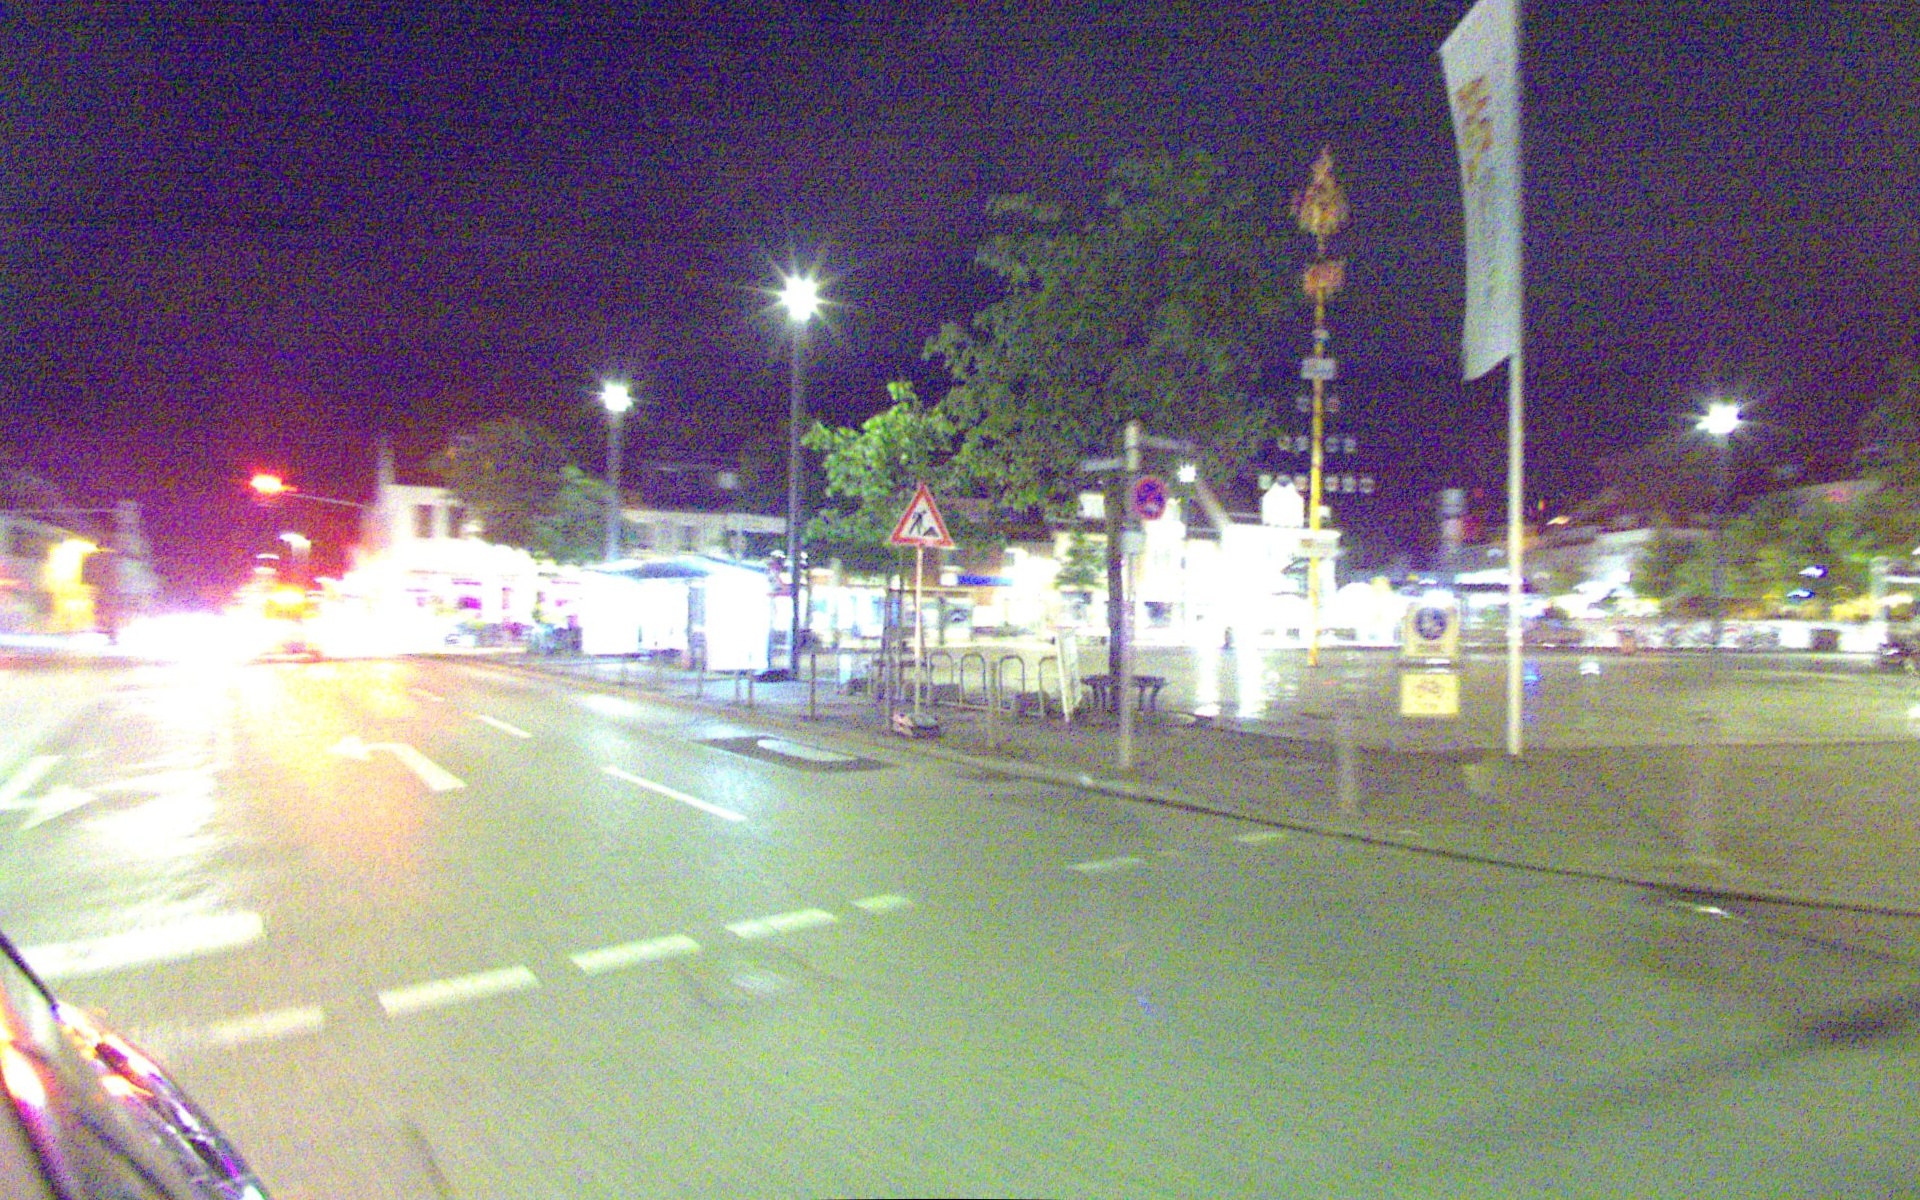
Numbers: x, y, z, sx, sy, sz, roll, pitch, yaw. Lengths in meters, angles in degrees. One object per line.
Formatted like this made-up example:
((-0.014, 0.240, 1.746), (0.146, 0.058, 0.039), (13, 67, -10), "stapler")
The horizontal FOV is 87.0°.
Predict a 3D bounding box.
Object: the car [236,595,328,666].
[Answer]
((-20.303, 0.872, 30.243), (1.929, 1.951, 4.426), (-1, -1, -38), "car")

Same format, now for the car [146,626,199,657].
((-43.526, 2.249, 56.000), (1.966, 1.583, 4.011), (-1, -1, -33), "car")

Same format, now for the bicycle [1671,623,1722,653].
((27.732, 1.411, 38.139), (0.600, 1.078, 1.747), (-1, 0, 1), "bicycle")

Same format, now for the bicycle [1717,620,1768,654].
((28.847, 1.352, 37.351), (0.601, 1.174, 1.745), (-1, 0, 4), "bicycle")

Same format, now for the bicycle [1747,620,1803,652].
((30.694, 1.344, 38.132), (0.751, 1.171, 1.745), (-1, 0, 4), "bicycle")

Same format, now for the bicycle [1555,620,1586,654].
((23.390, 1.399, 38.792), (0.604, 1.228, 1.736), (-1, -1, 19), "bicycle")

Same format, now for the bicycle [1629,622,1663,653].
((25.878, 1.407, 38.194), (0.604, 1.109, 1.736), (-1, -1, 19), "bicycle")

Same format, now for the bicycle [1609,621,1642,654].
((25.279, 1.405, 38.451), (0.604, 1.174, 1.736), (-1, -1, 19), "bicycle")

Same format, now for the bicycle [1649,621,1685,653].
((26.787, 1.382, 38.360), (0.604, 1.133, 1.736), (-1, -1, 19), "bicycle")

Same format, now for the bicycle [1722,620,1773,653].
((29.496, 1.341, 37.920), (0.601, 1.174, 1.745), (-1, 0, 4), "bicycle")

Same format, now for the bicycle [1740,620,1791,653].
((29.963, 1.335, 37.672), (0.538, 1.163, 1.745), (-1, 0, 4), "bicycle")

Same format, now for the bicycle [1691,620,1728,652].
((28.644, 1.361, 38.700), (0.604, 1.174, 1.736), (-1, -1, 19), "bicycle")
